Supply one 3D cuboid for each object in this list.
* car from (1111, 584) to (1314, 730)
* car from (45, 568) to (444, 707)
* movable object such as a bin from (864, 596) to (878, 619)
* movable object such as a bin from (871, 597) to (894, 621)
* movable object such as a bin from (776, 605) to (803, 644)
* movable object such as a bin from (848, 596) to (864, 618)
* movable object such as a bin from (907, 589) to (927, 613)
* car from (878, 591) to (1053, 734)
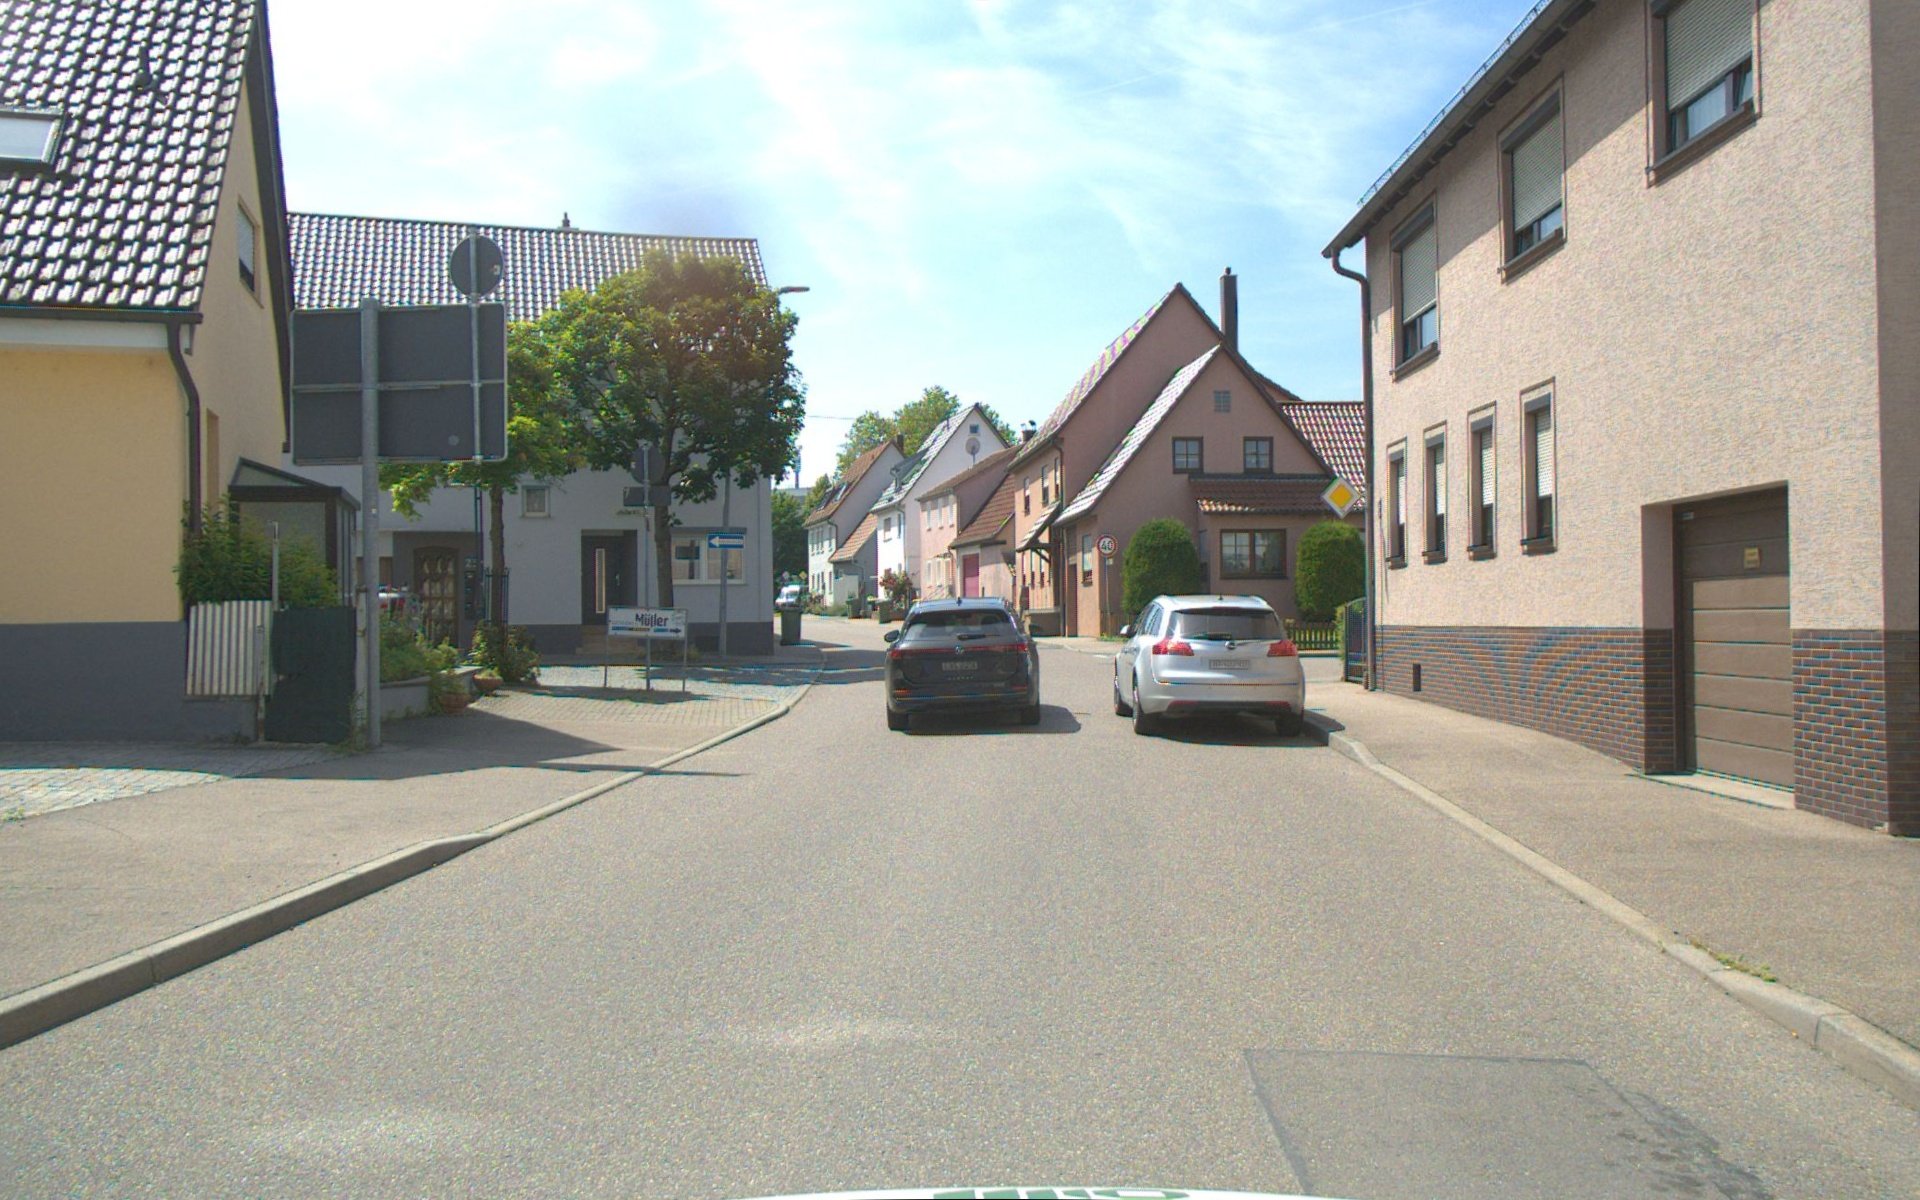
[{"bbox_3d":[2.772,0.575,19.050,1.749,1.467,4.338,1,0,1],"label":"car"},{"bbox_3d":[-10.373,0.511,24.403,5.013,1.929,2.170,0,0,-10],"label":"car"},{"bbox_3d":[-4.744,0.402,88.315,0.653,1.215,0.658,0,0,-15],"label":"movable object such as a bin"},{"bbox_3d":[-3.724,0.435,79.233,0.862,1.093,0.868,-4,1,-18],"label":"movable object such as a bin"},{"bbox_3d":[-4.753,0.680,46.051,0.739,1.079,0.678,0,0,-8],"label":"movable object such as a bin"},{"bbox_3d":[-5.566,0.372,88.386,0.668,1.175,0.816,1,-1,-18],"label":"movable object such as a bin"},{"bbox_3d":[-2.053,0.037,78.342,0.668,1.068,0.831,-4,1,-18],"label":"movable object such as a bin"},{"bbox_3d":[0.026,0.650,19.908,1.804,1.445,4.681,-2,0,-1],"label":"car"}]
